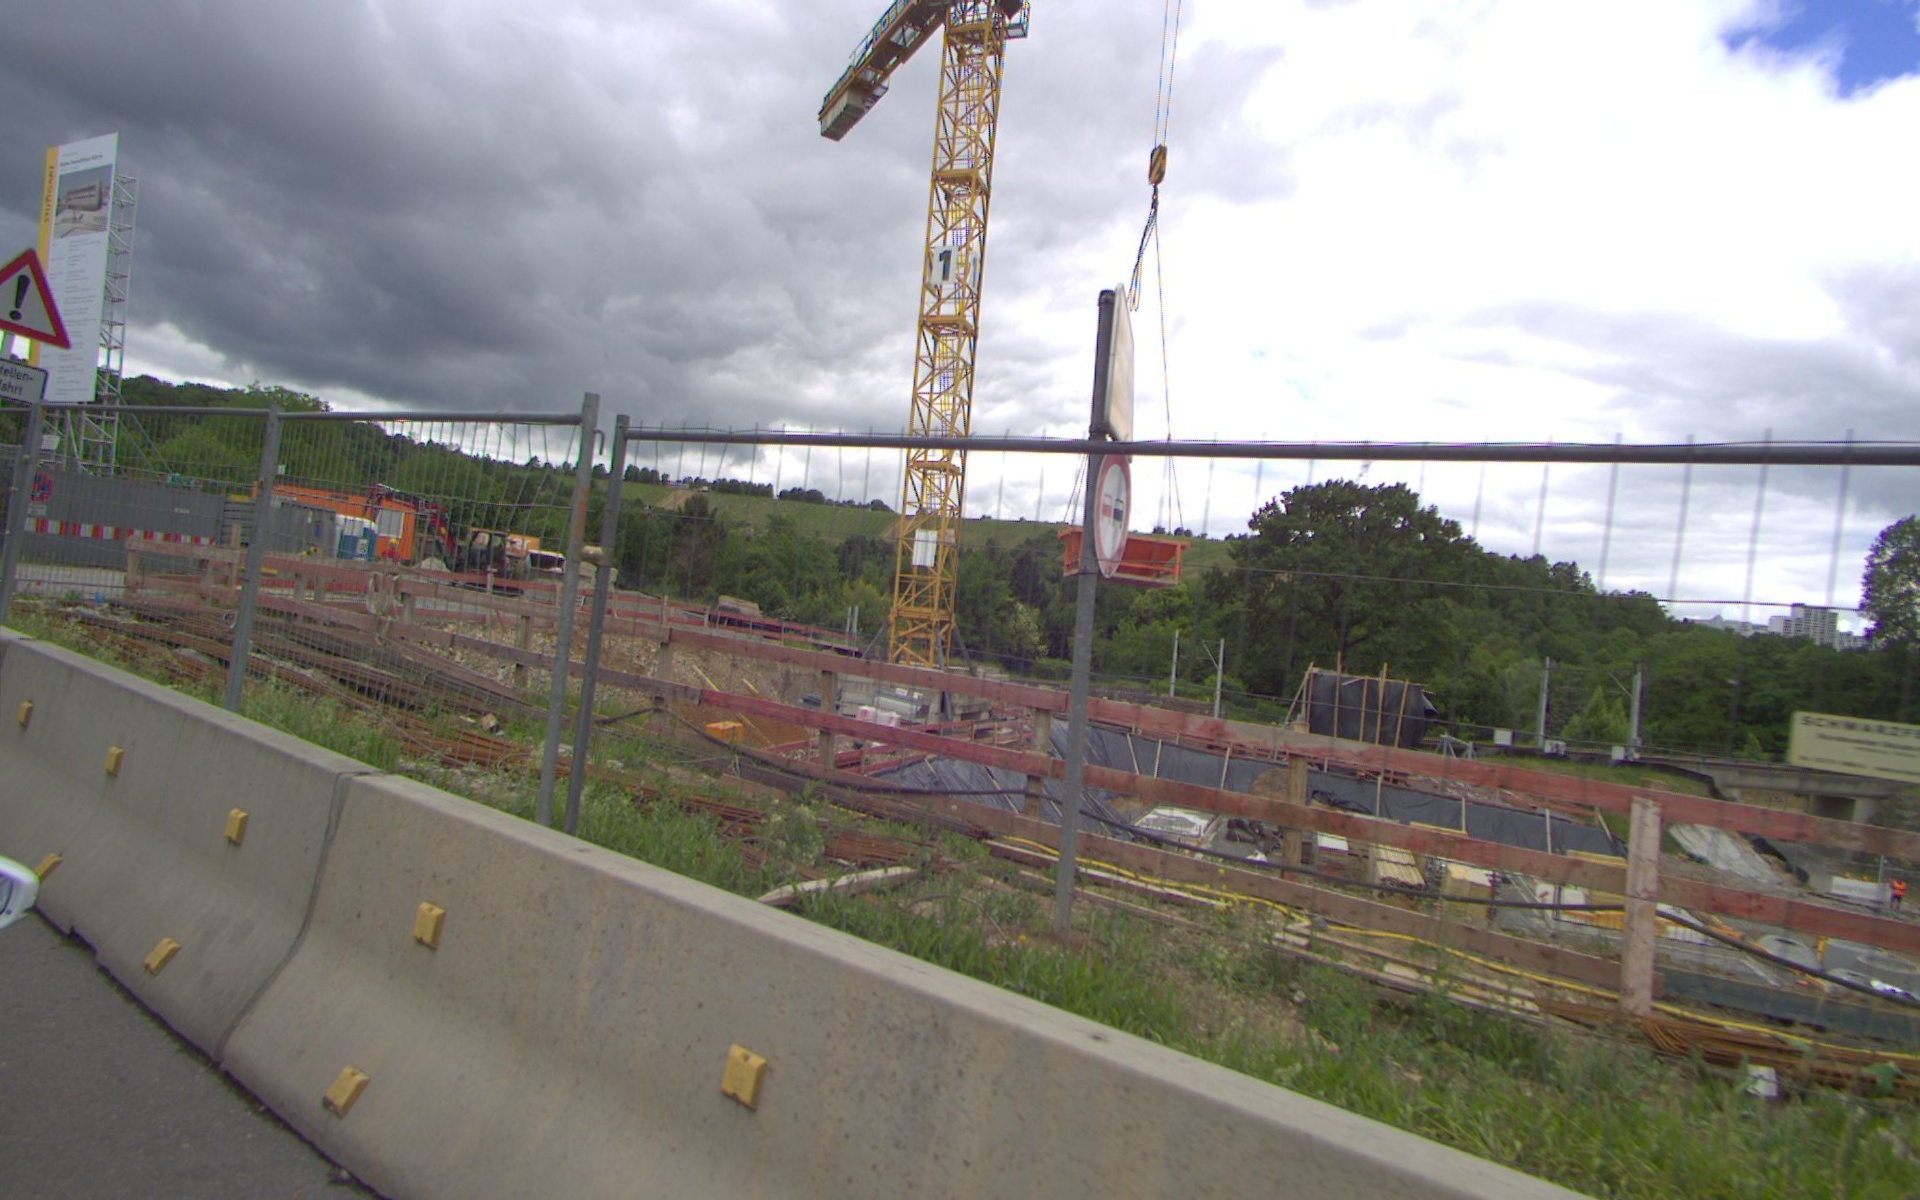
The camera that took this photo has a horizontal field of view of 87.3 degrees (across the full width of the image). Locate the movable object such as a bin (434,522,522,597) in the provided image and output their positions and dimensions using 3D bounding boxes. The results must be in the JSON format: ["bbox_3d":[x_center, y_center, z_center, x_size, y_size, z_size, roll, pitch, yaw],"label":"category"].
[{"bbox_3d":[-19.556,-1.602,40.942,2.702,2.615,1.994,8,-2,-17],"label":"movable object such as a bin"}]

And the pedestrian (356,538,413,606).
[{"bbox_3d":[-17.851,-0.855,31.218,1.134,1.923,0.827,6,-1,22],"label":"pedestrian"}]
